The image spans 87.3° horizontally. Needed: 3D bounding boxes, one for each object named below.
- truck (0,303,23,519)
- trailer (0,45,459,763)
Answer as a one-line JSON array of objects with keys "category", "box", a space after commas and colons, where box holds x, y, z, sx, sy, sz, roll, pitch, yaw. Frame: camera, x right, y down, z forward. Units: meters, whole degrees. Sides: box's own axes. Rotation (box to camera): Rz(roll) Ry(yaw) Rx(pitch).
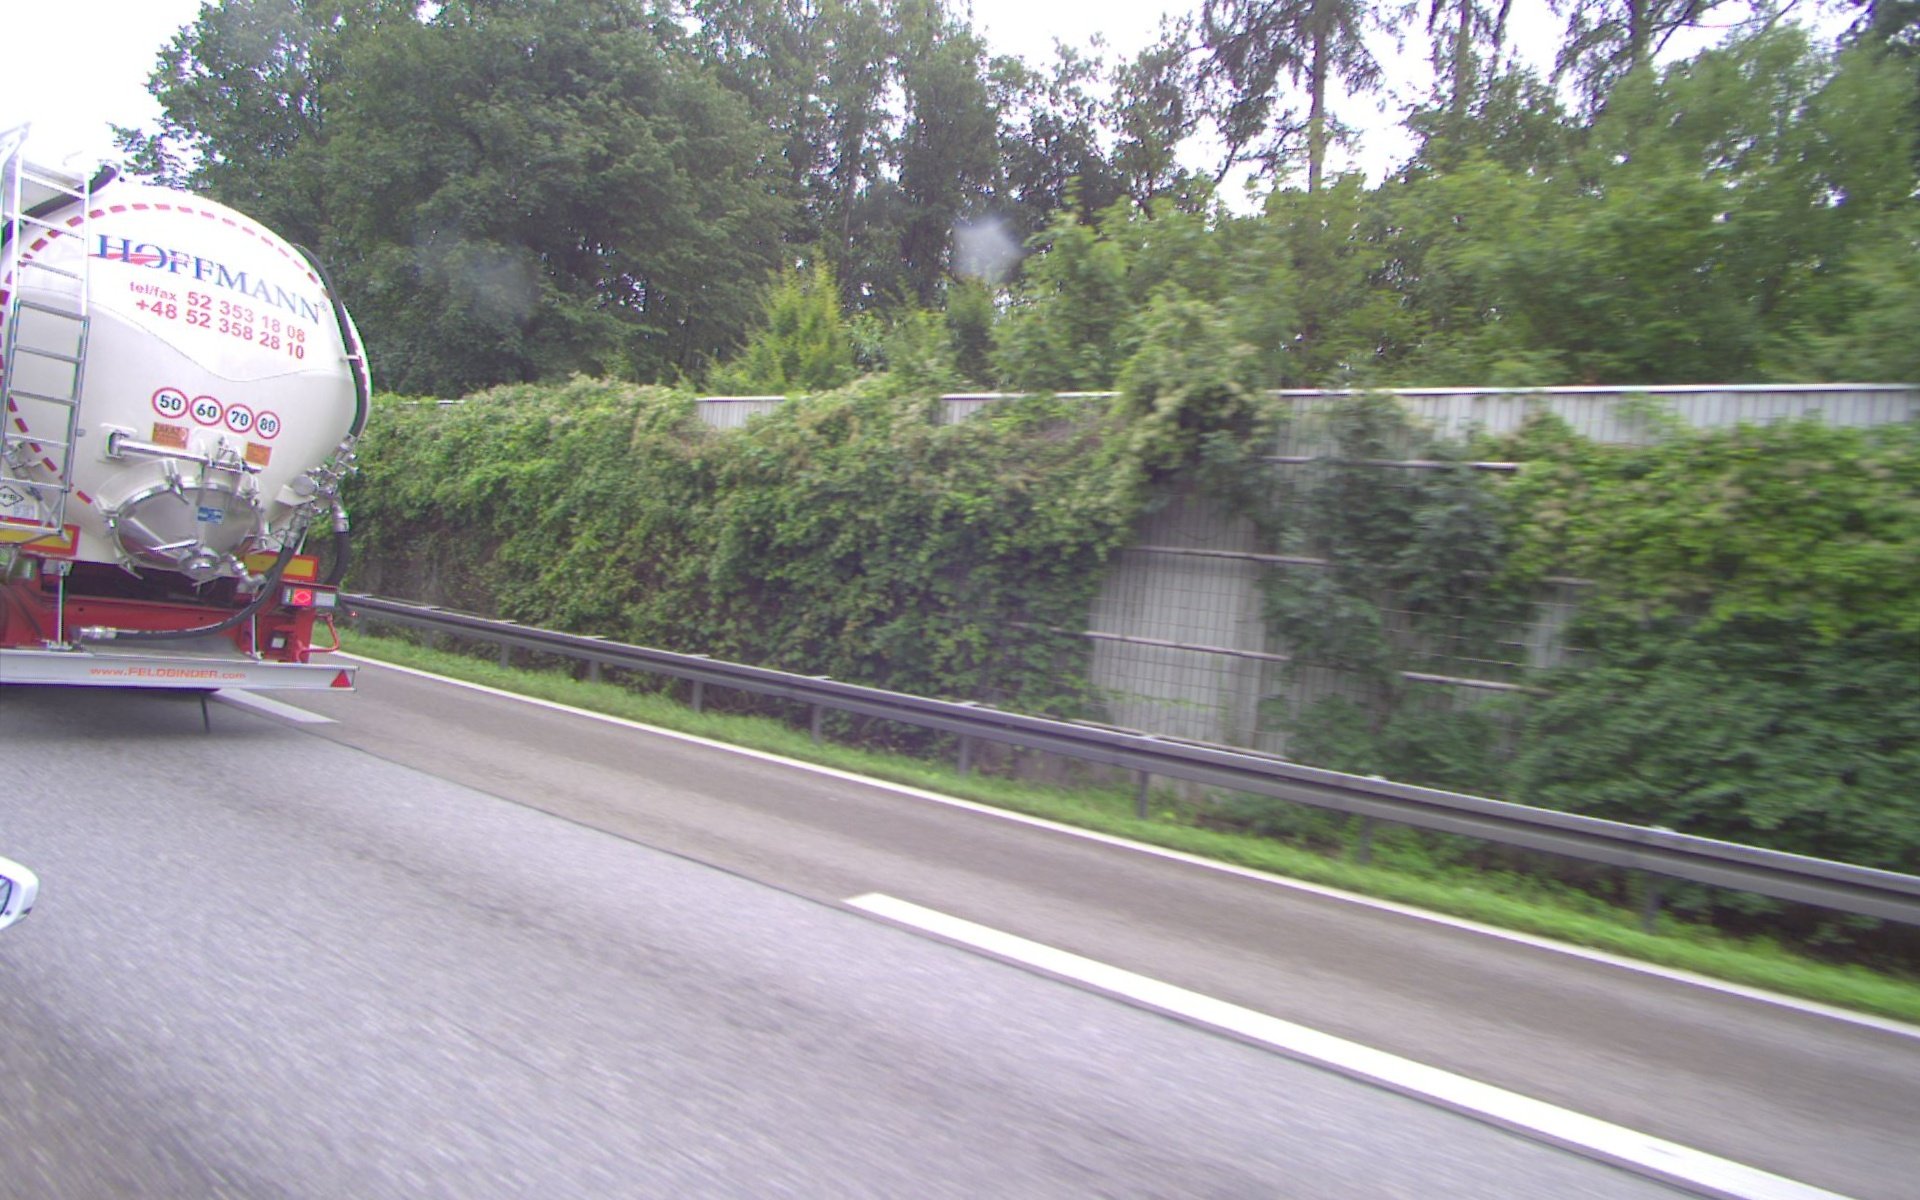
[{"category": "truck", "box": [-15.917, -2.245, 13.740, 6.448, 3.960, 2.699, 6, -1, 32]}, {"category": "trailer", "box": [-10.233, -1.621, 10.106, 12.913, 3.987, 2.671, 7, 0, 32]}]
